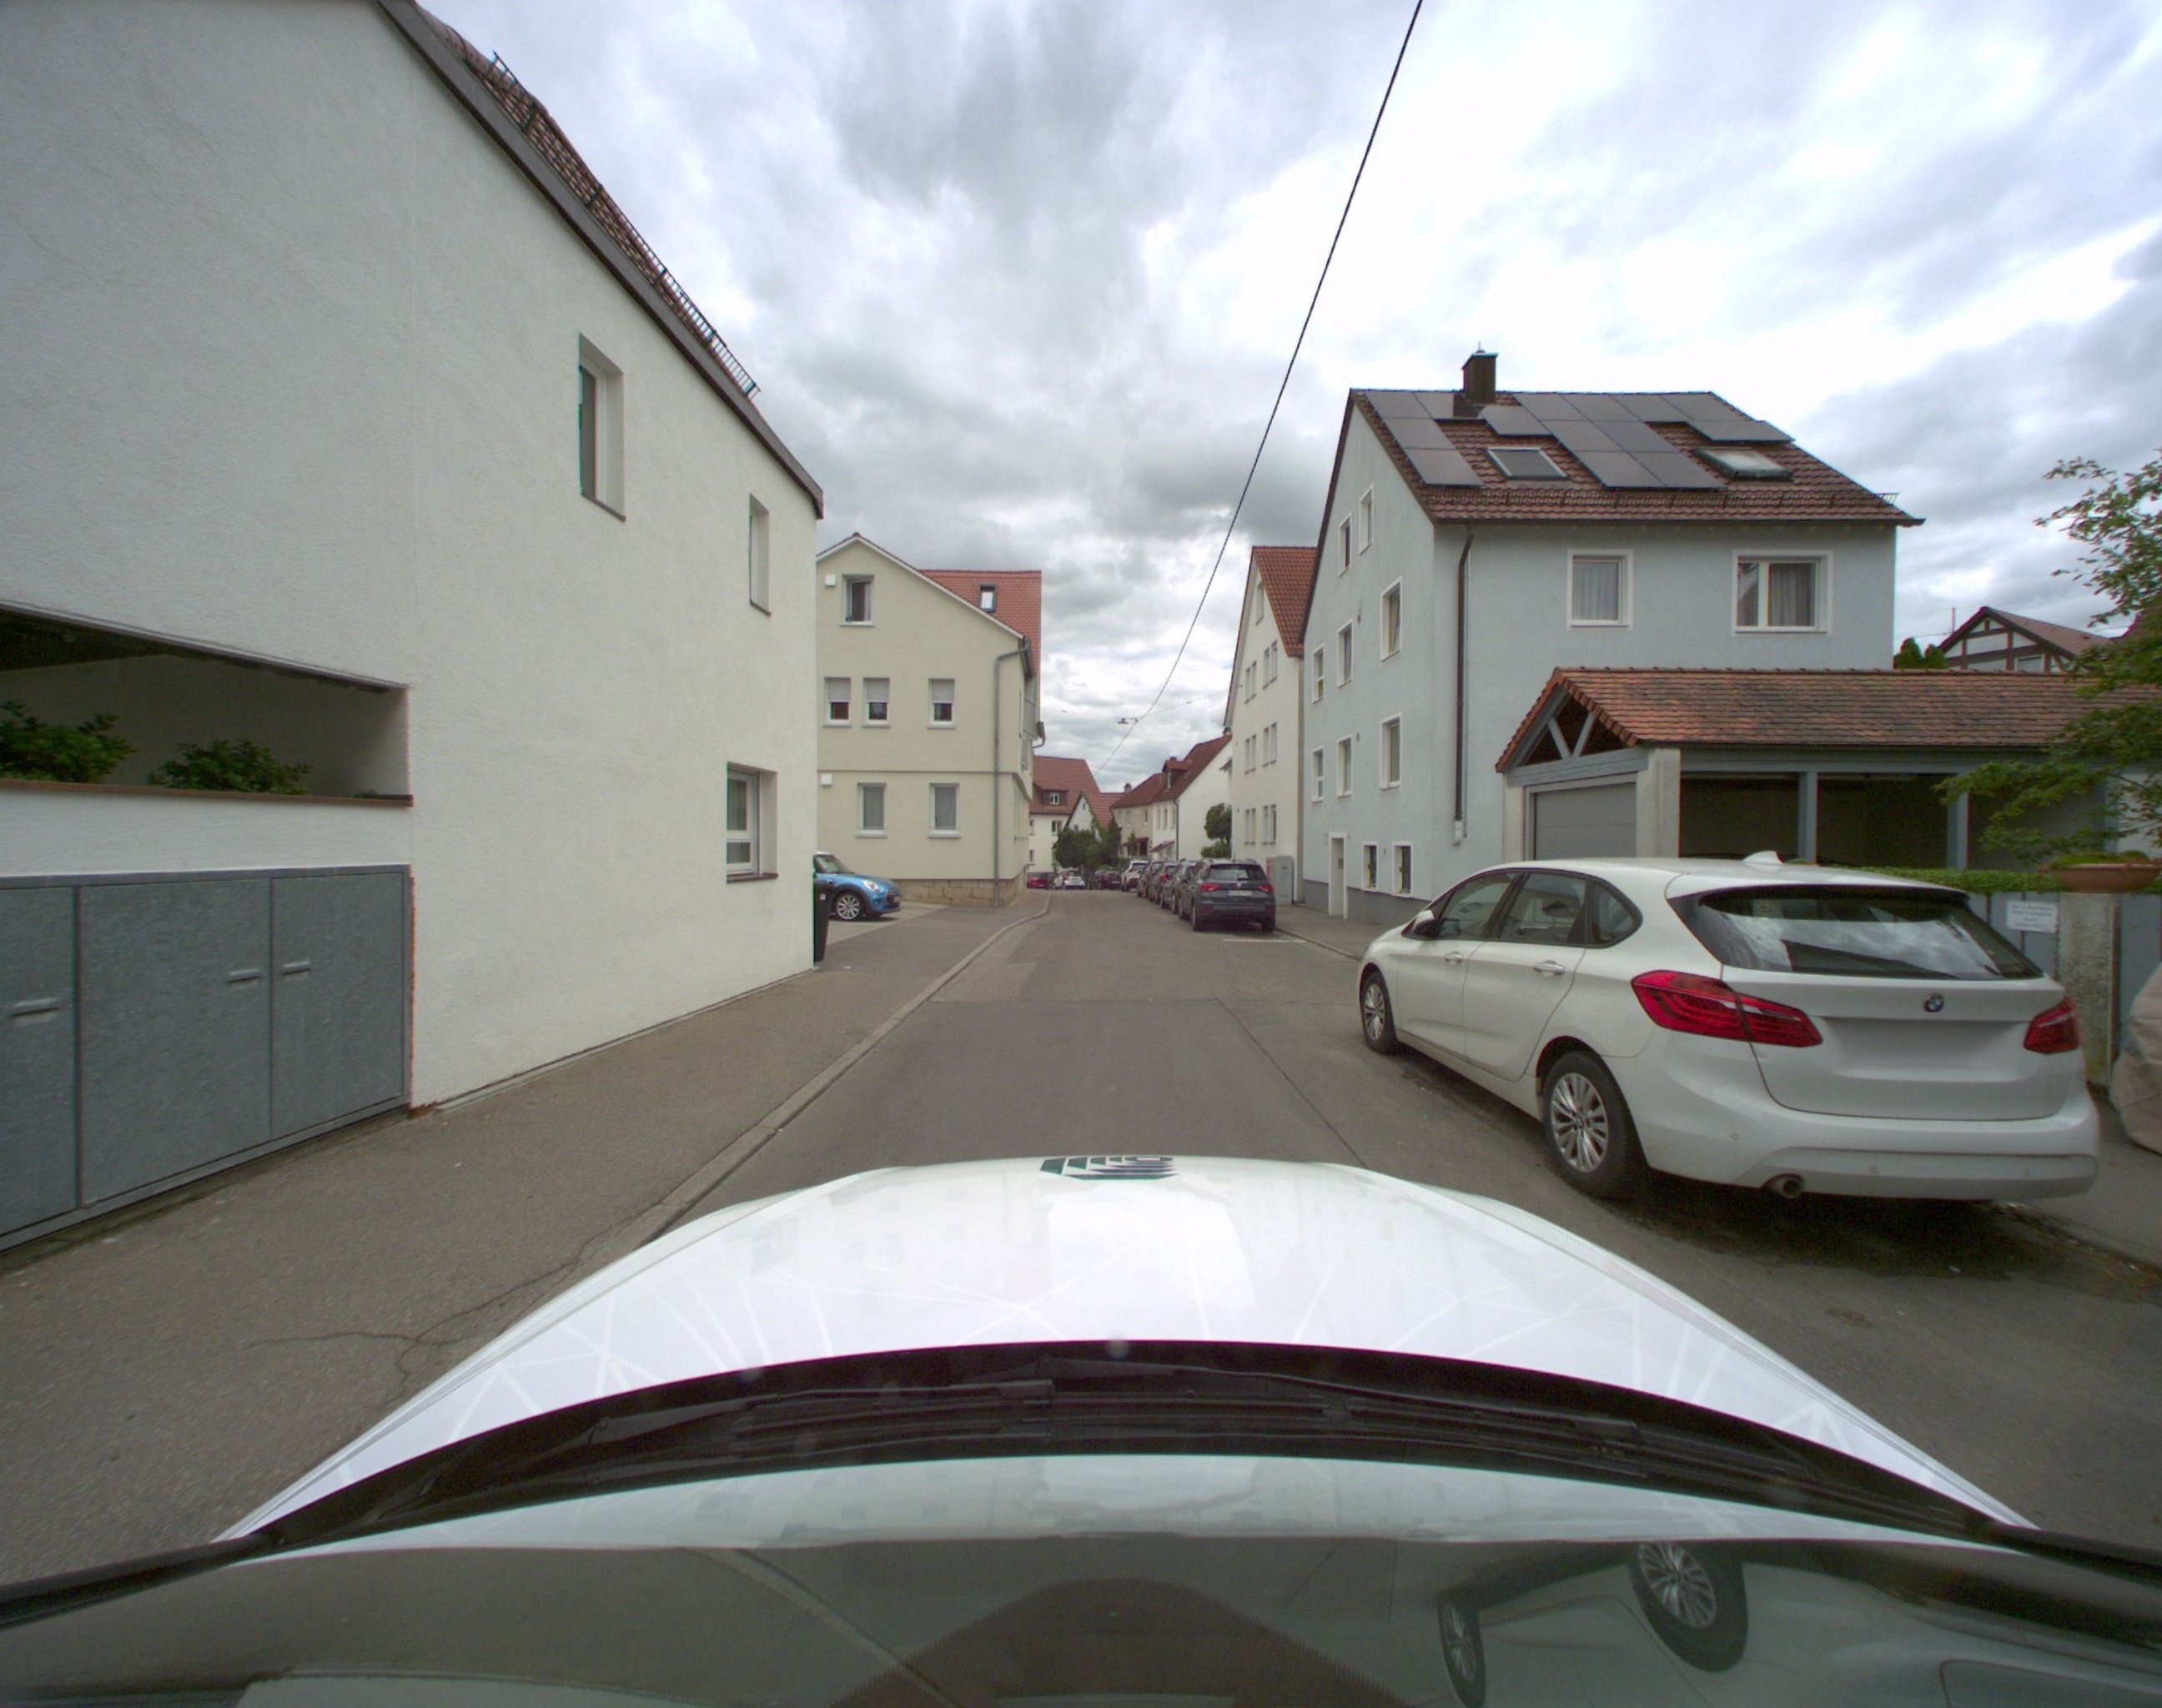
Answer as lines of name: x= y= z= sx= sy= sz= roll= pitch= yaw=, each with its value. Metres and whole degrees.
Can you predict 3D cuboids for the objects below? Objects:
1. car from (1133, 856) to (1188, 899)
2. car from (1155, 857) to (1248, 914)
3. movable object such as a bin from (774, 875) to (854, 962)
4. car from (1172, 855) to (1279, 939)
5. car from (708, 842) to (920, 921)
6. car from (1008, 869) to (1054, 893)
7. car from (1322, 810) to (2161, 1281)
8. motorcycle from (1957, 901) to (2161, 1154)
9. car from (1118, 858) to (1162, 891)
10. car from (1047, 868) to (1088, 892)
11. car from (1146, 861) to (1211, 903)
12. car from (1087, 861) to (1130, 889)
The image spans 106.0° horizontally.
car: x=3.249 y=0.956 z=33.775 sx=1.731 sy=1.610 sz=3.997 roll=3 pitch=-1 yaw=-1
car: x=3.306 y=0.835 z=23.216 sx=1.912 sy=1.410 sz=4.654 roll=-1 pitch=-1 yaw=0
movable object such as a bin: x=-3.523 y=0.830 z=10.772 sx=0.609 sy=1.076 sz=0.756 roll=3 pitch=-1 yaw=22
car: x=3.135 y=0.855 z=18.489 sx=1.747 sy=1.628 sz=4.537 roll=1 pitch=0 yaw=2
car: x=-5.636 y=0.574 z=17.550 sx=3.713 sy=1.412 sz=2.123 roll=3 pitch=-1 yaw=5
car: x=-4.295 y=2.314 z=68.864 sx=2.009 sy=1.683 sz=3.957 roll=-6 pitch=0 yaw=-34
car: x=3.219 y=0.668 z=5.316 sx=1.986 sy=1.615 sz=4.881 roll=1 pitch=0 yaw=2
motorcycle: x=5.640 y=0.862 z=3.805 sx=0.815 sy=1.173 sz=2.172 roll=-1 pitch=-1 yaw=3
car: x=3.128 y=1.107 z=43.830 sx=1.868 sy=1.713 sz=4.143 roll=0 pitch=-1 yaw=-3
car: x=-1.073 y=2.002 z=63.411 sx=1.969 sy=1.713 sz=3.973 roll=1 pitch=0 yaw=-20
car: x=3.328 y=0.961 z=28.386 sx=1.791 sy=1.352 sz=4.074 roll=0 pitch=-1 yaw=0
car: x=1.779 y=1.434 z=54.546 sx=1.995 sy=1.713 sz=3.983 roll=-1 pitch=-3 yaw=-11
